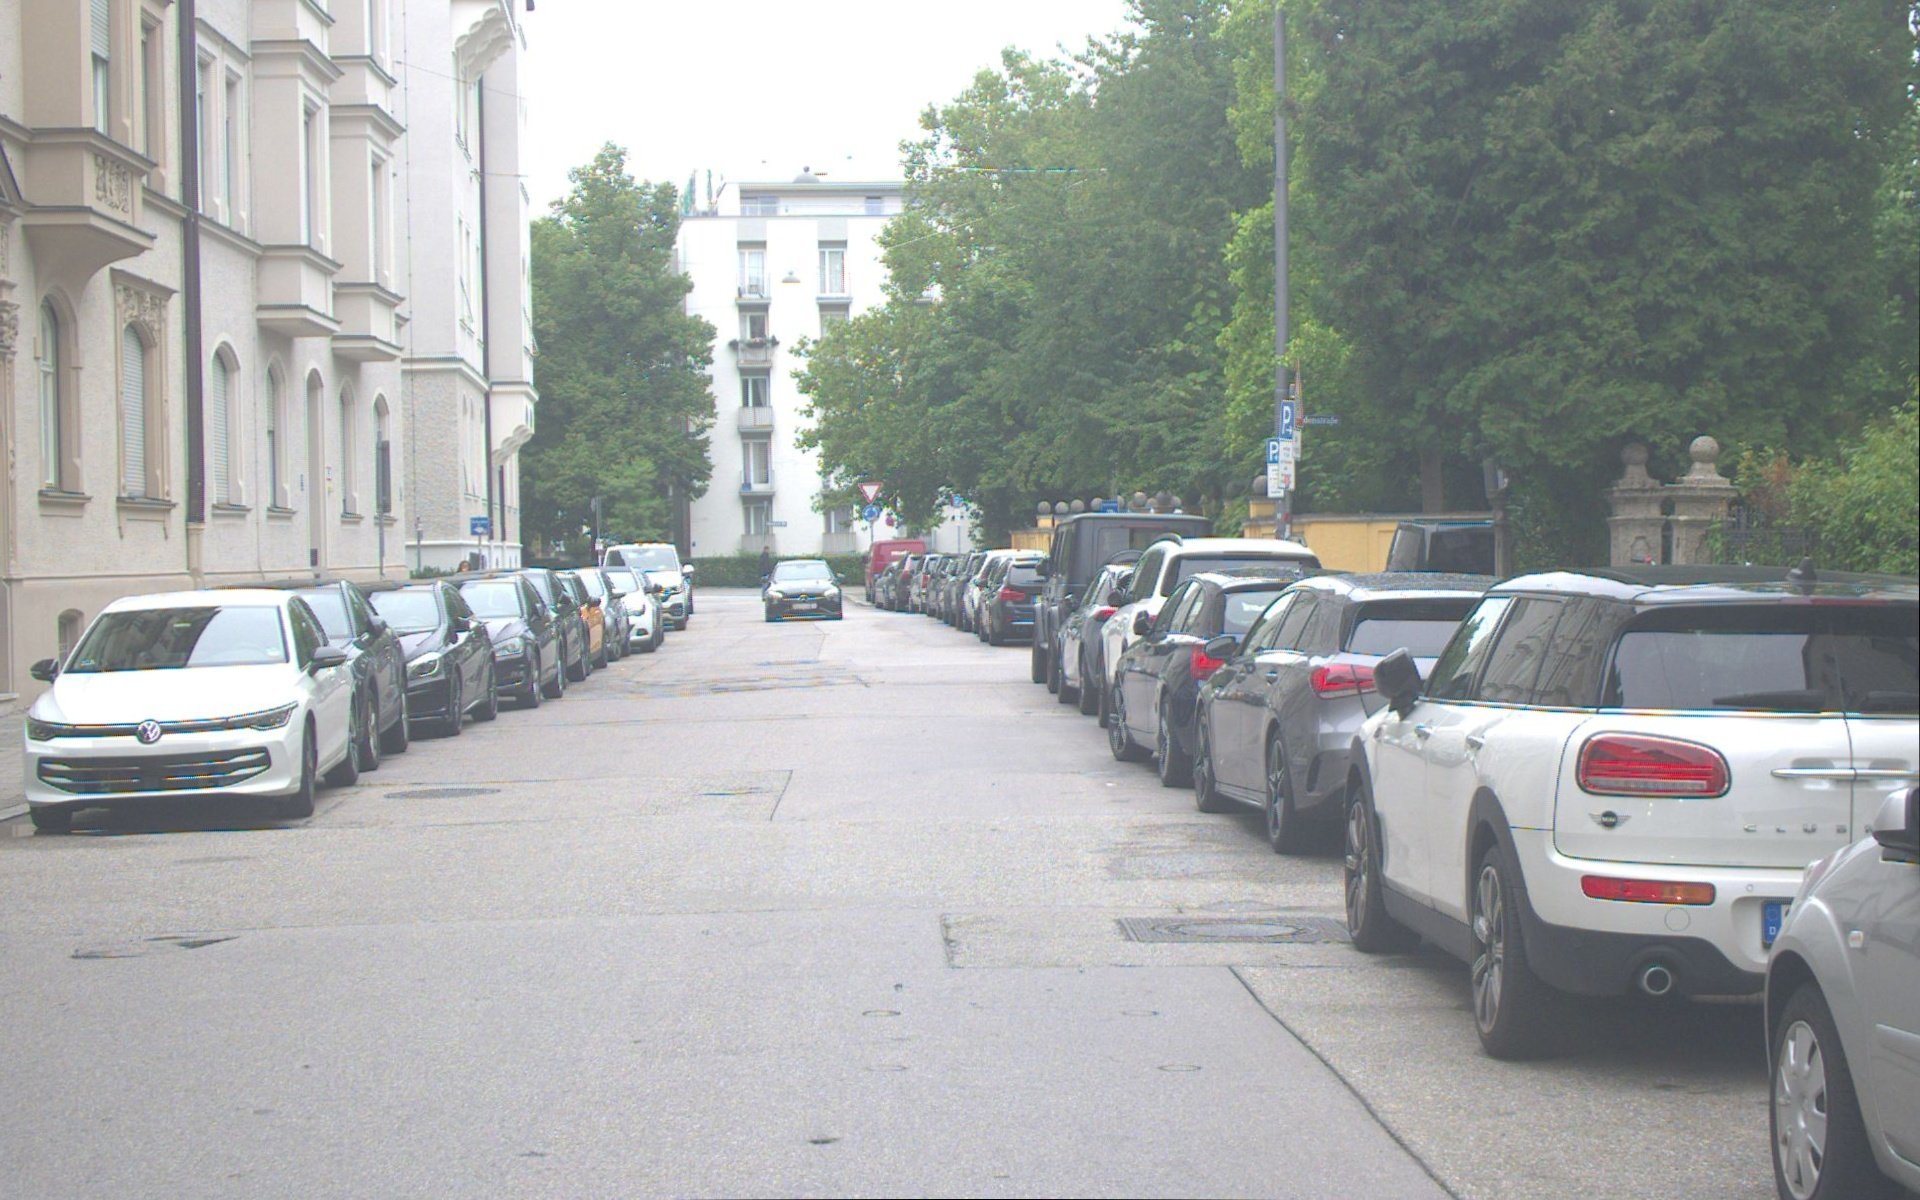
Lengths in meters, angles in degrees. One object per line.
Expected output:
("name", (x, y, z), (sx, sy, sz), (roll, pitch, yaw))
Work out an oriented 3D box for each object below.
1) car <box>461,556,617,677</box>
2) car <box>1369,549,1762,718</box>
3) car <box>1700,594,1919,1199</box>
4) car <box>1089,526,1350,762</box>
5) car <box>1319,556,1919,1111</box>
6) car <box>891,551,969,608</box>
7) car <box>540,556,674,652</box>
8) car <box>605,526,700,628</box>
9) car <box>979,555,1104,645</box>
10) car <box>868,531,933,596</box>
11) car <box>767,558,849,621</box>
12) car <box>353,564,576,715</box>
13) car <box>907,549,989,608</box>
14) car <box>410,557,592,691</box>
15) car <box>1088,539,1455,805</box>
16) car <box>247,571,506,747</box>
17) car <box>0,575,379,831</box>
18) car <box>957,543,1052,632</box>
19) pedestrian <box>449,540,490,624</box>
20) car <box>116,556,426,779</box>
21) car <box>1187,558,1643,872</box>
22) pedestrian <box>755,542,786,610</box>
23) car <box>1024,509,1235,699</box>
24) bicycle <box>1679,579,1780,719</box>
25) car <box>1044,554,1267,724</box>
("car", (-5.859, 0.195, 48.253), (1.640, 1.494, 3.972), (-3, 1, 0))
("car", (7.643, 0.392, 43.569), (4.528, 1.943, 1.904), (-1, 3, -8))
("car", (2.594, 0.719, 6.048), (1.754, 1.401, 3.452), (0, 1, -1))
("car", (2.083, 0.325, 28.705), (1.723, 1.763, 4.413), (2, 0, -1))
("car", (2.349, 0.615, 11.415), (1.784, 1.499, 4.065), (0, 1, -1))
("car", (-0.858, -0.569, 95.091), (1.838, 1.513, 3.948), (1, 0, -5))
("car", (-5.982, 0.041, 58.721), (1.836, 1.433, 4.275), (-3, 1, -1))
("car", (-6.875, -0.540, 77.216), (1.886, 2.120, 4.707), (-3, 1, -3))
("car", (1.298, -0.015, 56.483), (1.838, 1.408, 4.343), (1, 0, -1))
("car", (-1.836, -1.164, 106.950), (1.836, 1.920, 4.005), (2, 1, 1))
("car", (-3.676, -0.273, 82.585), (1.874, 1.423, 4.410), (-1, 1, -4))
("car", (-5.399, 0.388, 37.936), (1.836, 1.431, 4.245), (-3, 1, -1))
("car", (-0.342, -0.567, 90.921), (1.838, 1.513, 3.948), (1, 0, -5))
("car", (-5.714, 0.263, 43.211), (1.753, 1.494, 4.019), (-2, 1, -1))
("car", (2.038, 0.414, 23.736), (1.750, 1.605, 4.425), (1, 1, -5))
("car", (-5.442, 0.500, 32.582), (1.833, 1.429, 4.554), (-2, 1, -3))
("car", (-5.097, 0.610, 23.044), (1.836, 1.429, 4.245), (-2, 1, -3))
("car", (0.836, -0.246, 66.412), (1.513, 1.656, 3.674), (1, 0, -4))
("pedestrian", (-9.957, -0.370, 69.824), (0.792, 1.673, 0.700), (-1, 1, -8))
("car", (-5.444, 0.473, 27.684), (1.770, 1.513, 4.386), (-3, 1, -3))
("car", (2.337, 0.535, 18.647), (1.683, 1.499, 4.018), (0, 1, -4))
("pedestrian", (-6.403, -0.808, 116.073), (0.841, 2.277, 0.843), (-1, 1, -17))
("car", (1.826, -0.018, 38.499), (1.950, 1.947, 4.666), (1, 2, -2))
("bicycle", (6.204, 0.384, 27.760), (0.454, 1.095, 1.314), (-1, 1, -3))
("car", (1.846, 0.347, 33.526), (1.722, 1.513, 3.631), (2, 0, -3))
